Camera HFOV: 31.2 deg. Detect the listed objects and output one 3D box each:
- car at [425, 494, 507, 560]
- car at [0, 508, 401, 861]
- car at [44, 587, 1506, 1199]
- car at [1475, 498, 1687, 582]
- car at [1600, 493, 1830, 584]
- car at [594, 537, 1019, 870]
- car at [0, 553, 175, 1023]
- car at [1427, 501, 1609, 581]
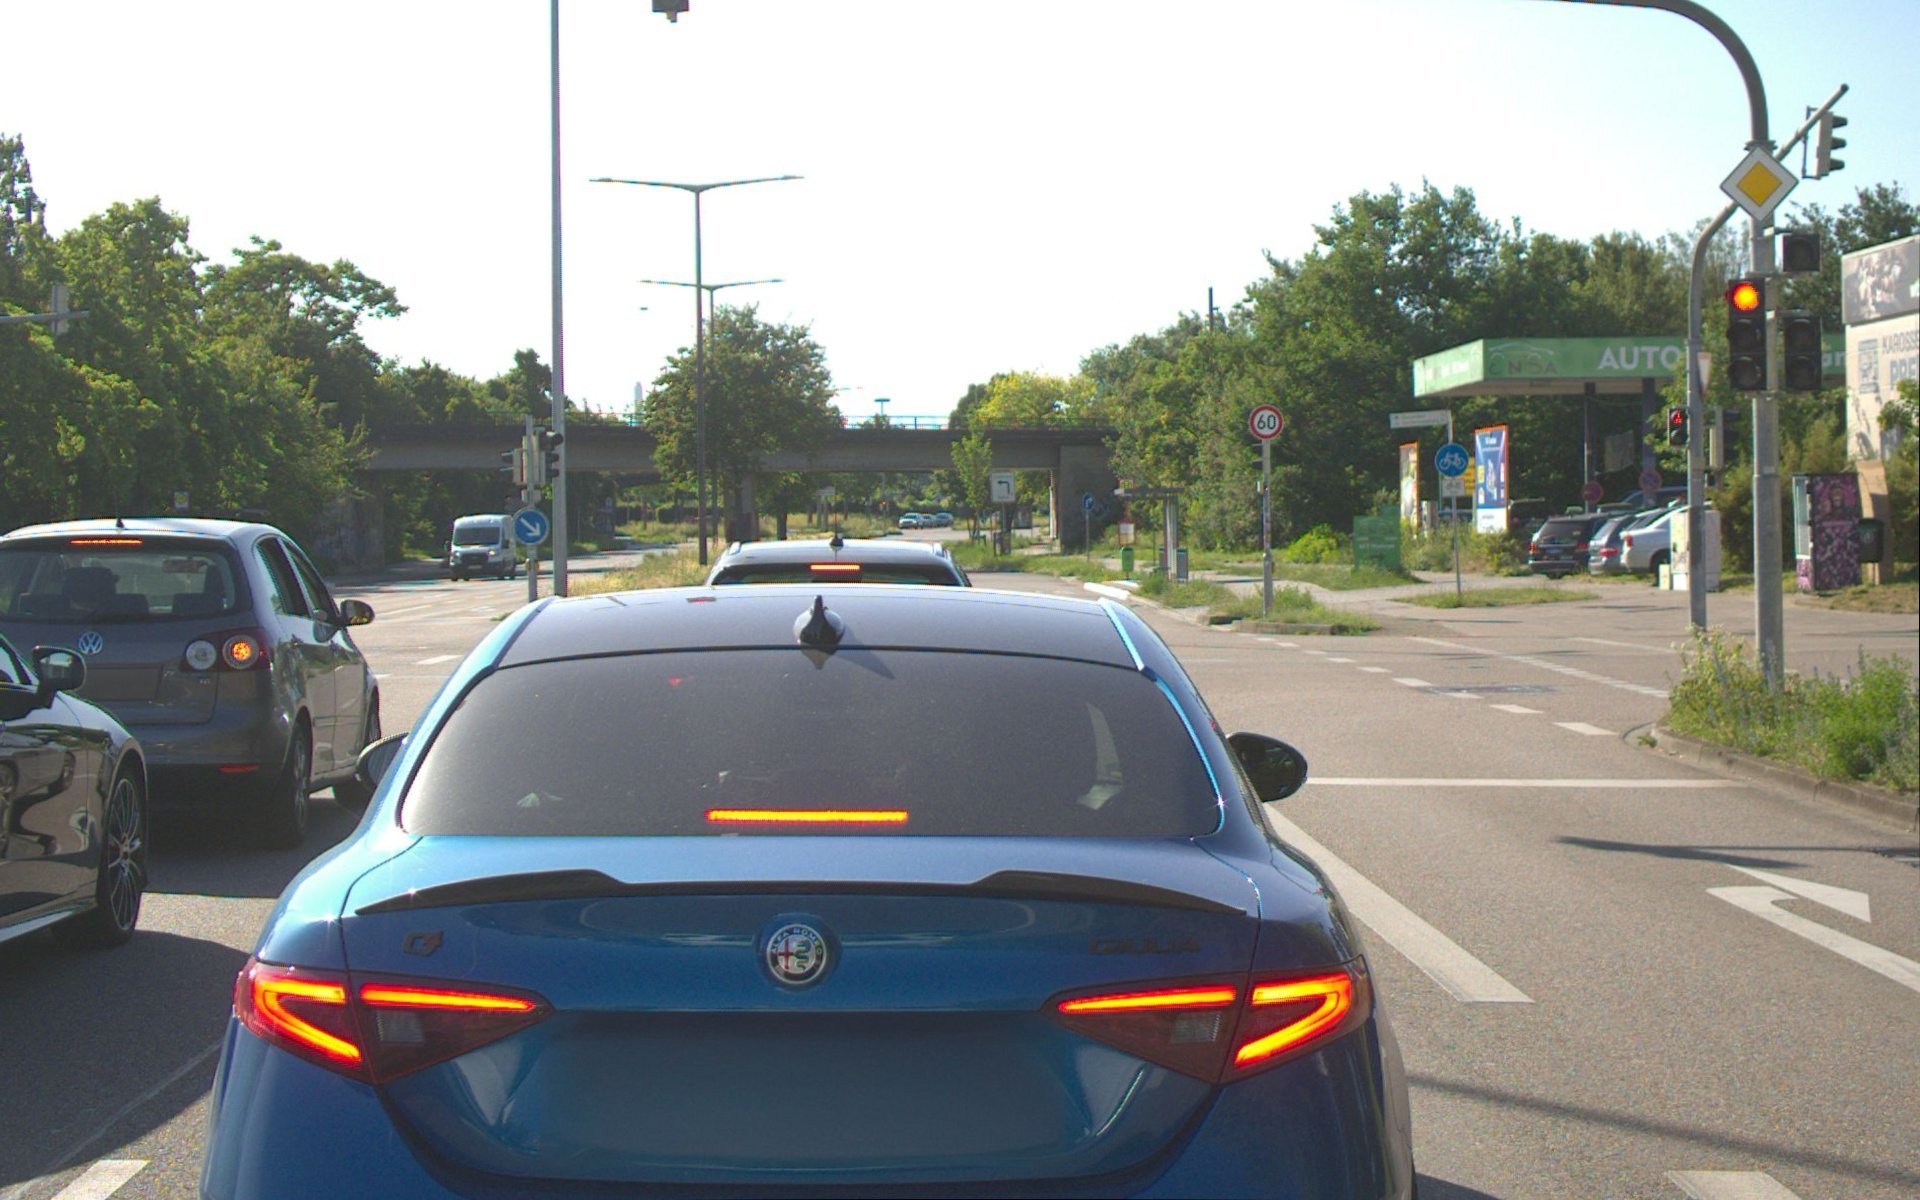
[{"bbox_3d":[-18.754,-2.776,130.677,2.431,2.418,5.831,0,1,-2],"label":"car"},{"bbox_3d":[-3.976,0.340,17.522,1.648,1.593,3.932,0,1,-1],"label":"car"},{"bbox_3d":[-0.260,0.704,6.368,1.866,1.380,3.932,0,1,-1],"label":"car"},{"bbox_3d":[12.821,-1.239,70.959,3.986,1.700,1.696,-1,1,-19],"label":"car"},{"bbox_3d":[14.512,-1.187,66.104,3.986,1.700,1.696,-1,1,-16],"label":"car"},{"bbox_3d":[-0.698,0.419,17.075,1.866,1.445,3.932,0,1,-1],"label":"car"},{"bbox_3d":[-3.804,0.579,10.637,1.768,1.409,4.461,0,1,-1],"label":"car"},{"bbox_3d":[12.020,-1.276,74.150,3.483,1.700,1.696,-1,1,-16],"label":"car"}]
